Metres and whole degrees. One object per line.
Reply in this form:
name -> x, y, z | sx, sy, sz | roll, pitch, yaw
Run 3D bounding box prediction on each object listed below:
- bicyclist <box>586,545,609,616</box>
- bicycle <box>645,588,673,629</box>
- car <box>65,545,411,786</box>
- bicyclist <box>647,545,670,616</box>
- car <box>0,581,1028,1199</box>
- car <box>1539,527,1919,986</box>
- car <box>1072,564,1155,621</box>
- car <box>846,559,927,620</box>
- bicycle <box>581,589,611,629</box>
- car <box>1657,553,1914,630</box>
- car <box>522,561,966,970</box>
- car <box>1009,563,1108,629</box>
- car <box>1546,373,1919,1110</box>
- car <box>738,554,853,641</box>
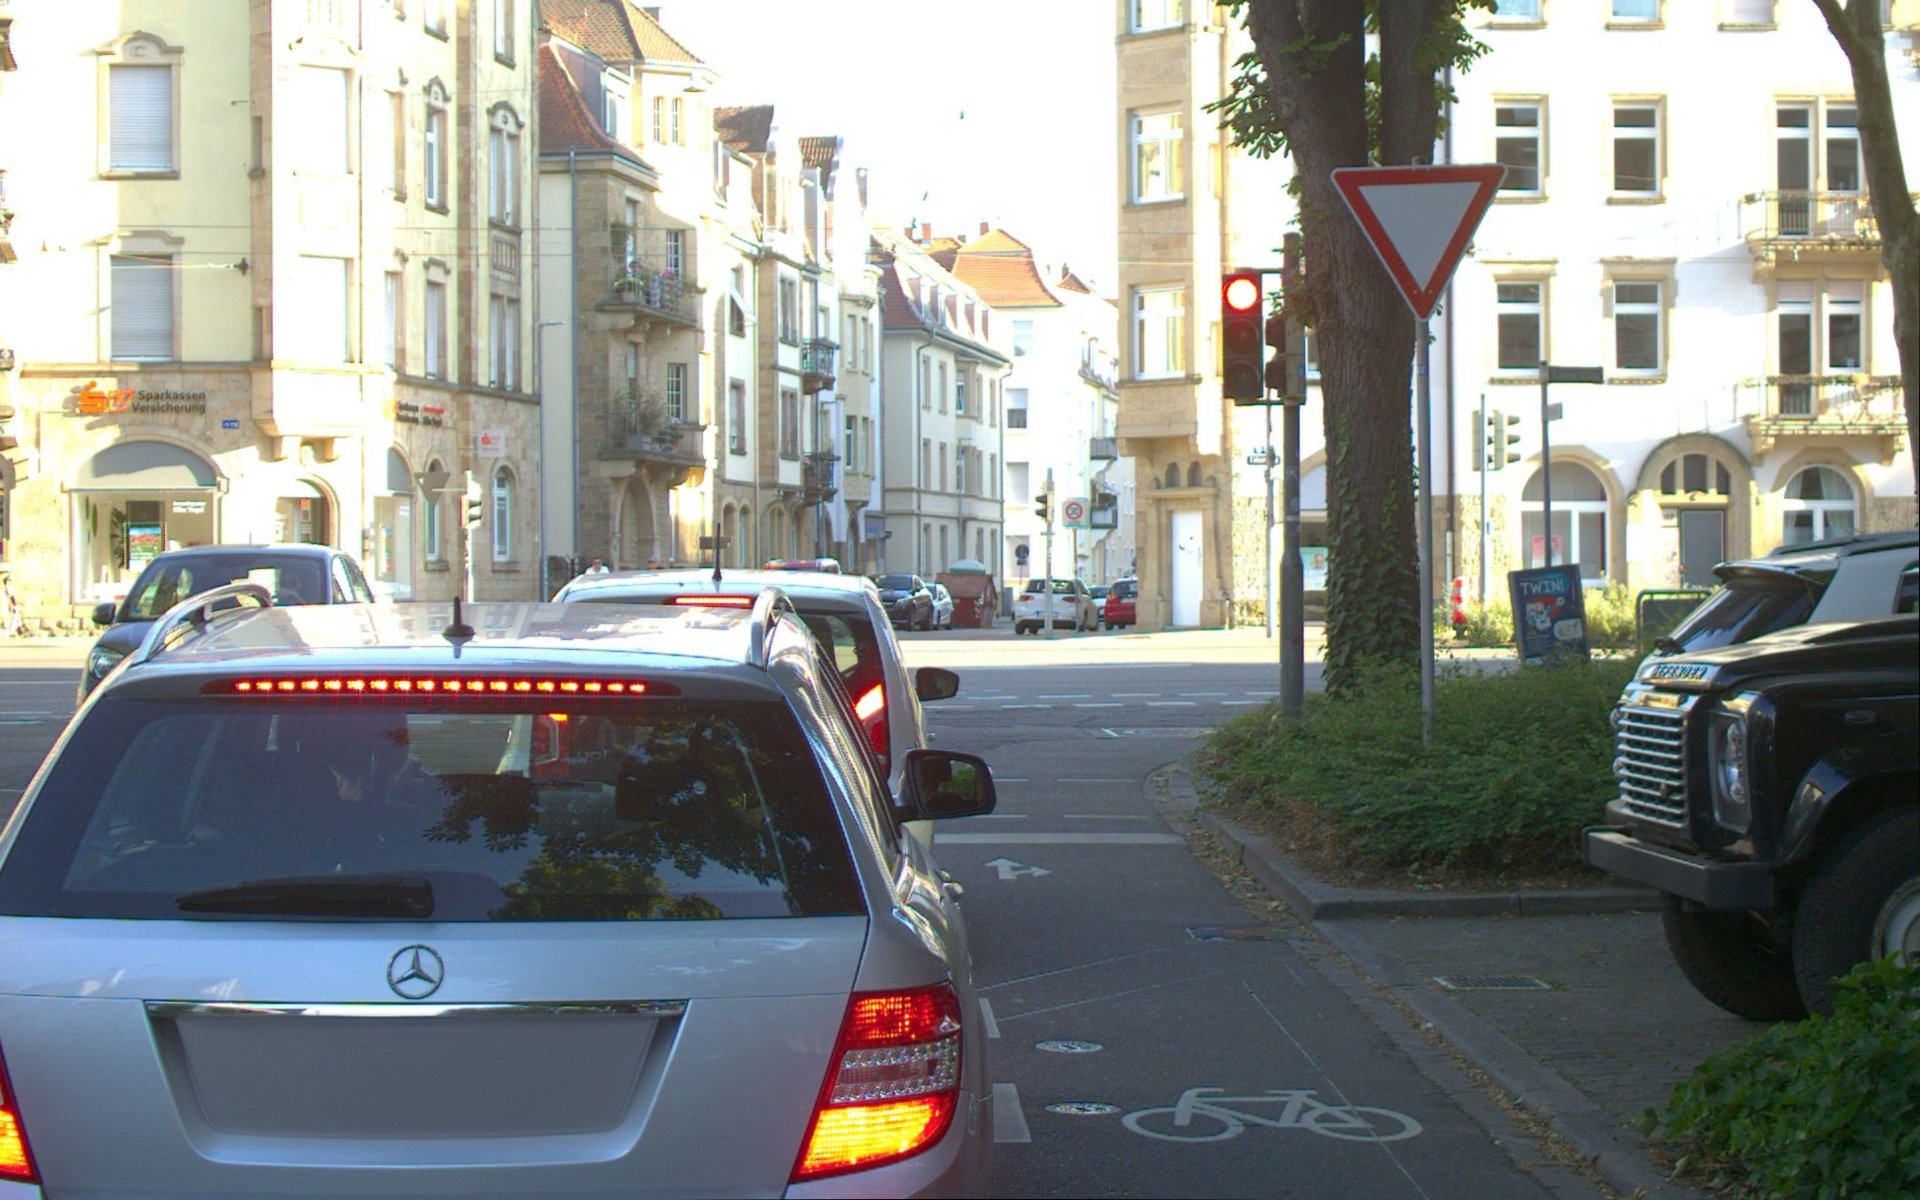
bicyclist -> -7.730, -0.415, 73.287 | 0.466, 1.509, 0.655 | 0, 1, -4
bicycle -> -6.409, 0.176, 73.302 | 0.568, 0.832, 1.566 | 0, 1, -4
car -> -4.813, 0.383, 23.354 | 1.615, 1.496, 3.592 | 0, 1, 0
bicyclist -> -6.431, -0.419, 73.352 | 0.466, 1.516, 0.694 | 0, 1, -4
car -> -0.857, 0.707, 6.468 | 1.690, 1.424, 3.493 | 1, 1, -3
car -> 4.155, 0.502, 13.072 | 3.480, 1.580, 1.711 | -2, 1, -6
car -> 4.577, -0.228, 102.075 | 1.722, 1.473, 3.998 | -4, 1, 12
car -> -2.160, -0.302, 102.434 | 1.651, 1.777, 3.861 | 0, 0, 11
bicycle -> -7.751, 0.183, 73.313 | 0.568, 0.832, 1.566 | 0, 1, -4
car -> 11.867, -0.126, 49.516 | 3.364, 1.065, 1.380 | 0, 1, -1
car -> -0.817, 0.555, 13.723 | 1.533, 1.386, 3.600 | 0, 1, -2
car -> 2.486, -0.120, 85.825 | 1.722, 1.473, 3.998 | -2, 1, 12
car -> 4.192, 0.290, 10.182 | 4.490, 1.949, 1.793 | -2, 1, -3
car -> -3.786, -0.086, 79.845 | 1.938, 1.952, 4.149 | 0, 1, 8
